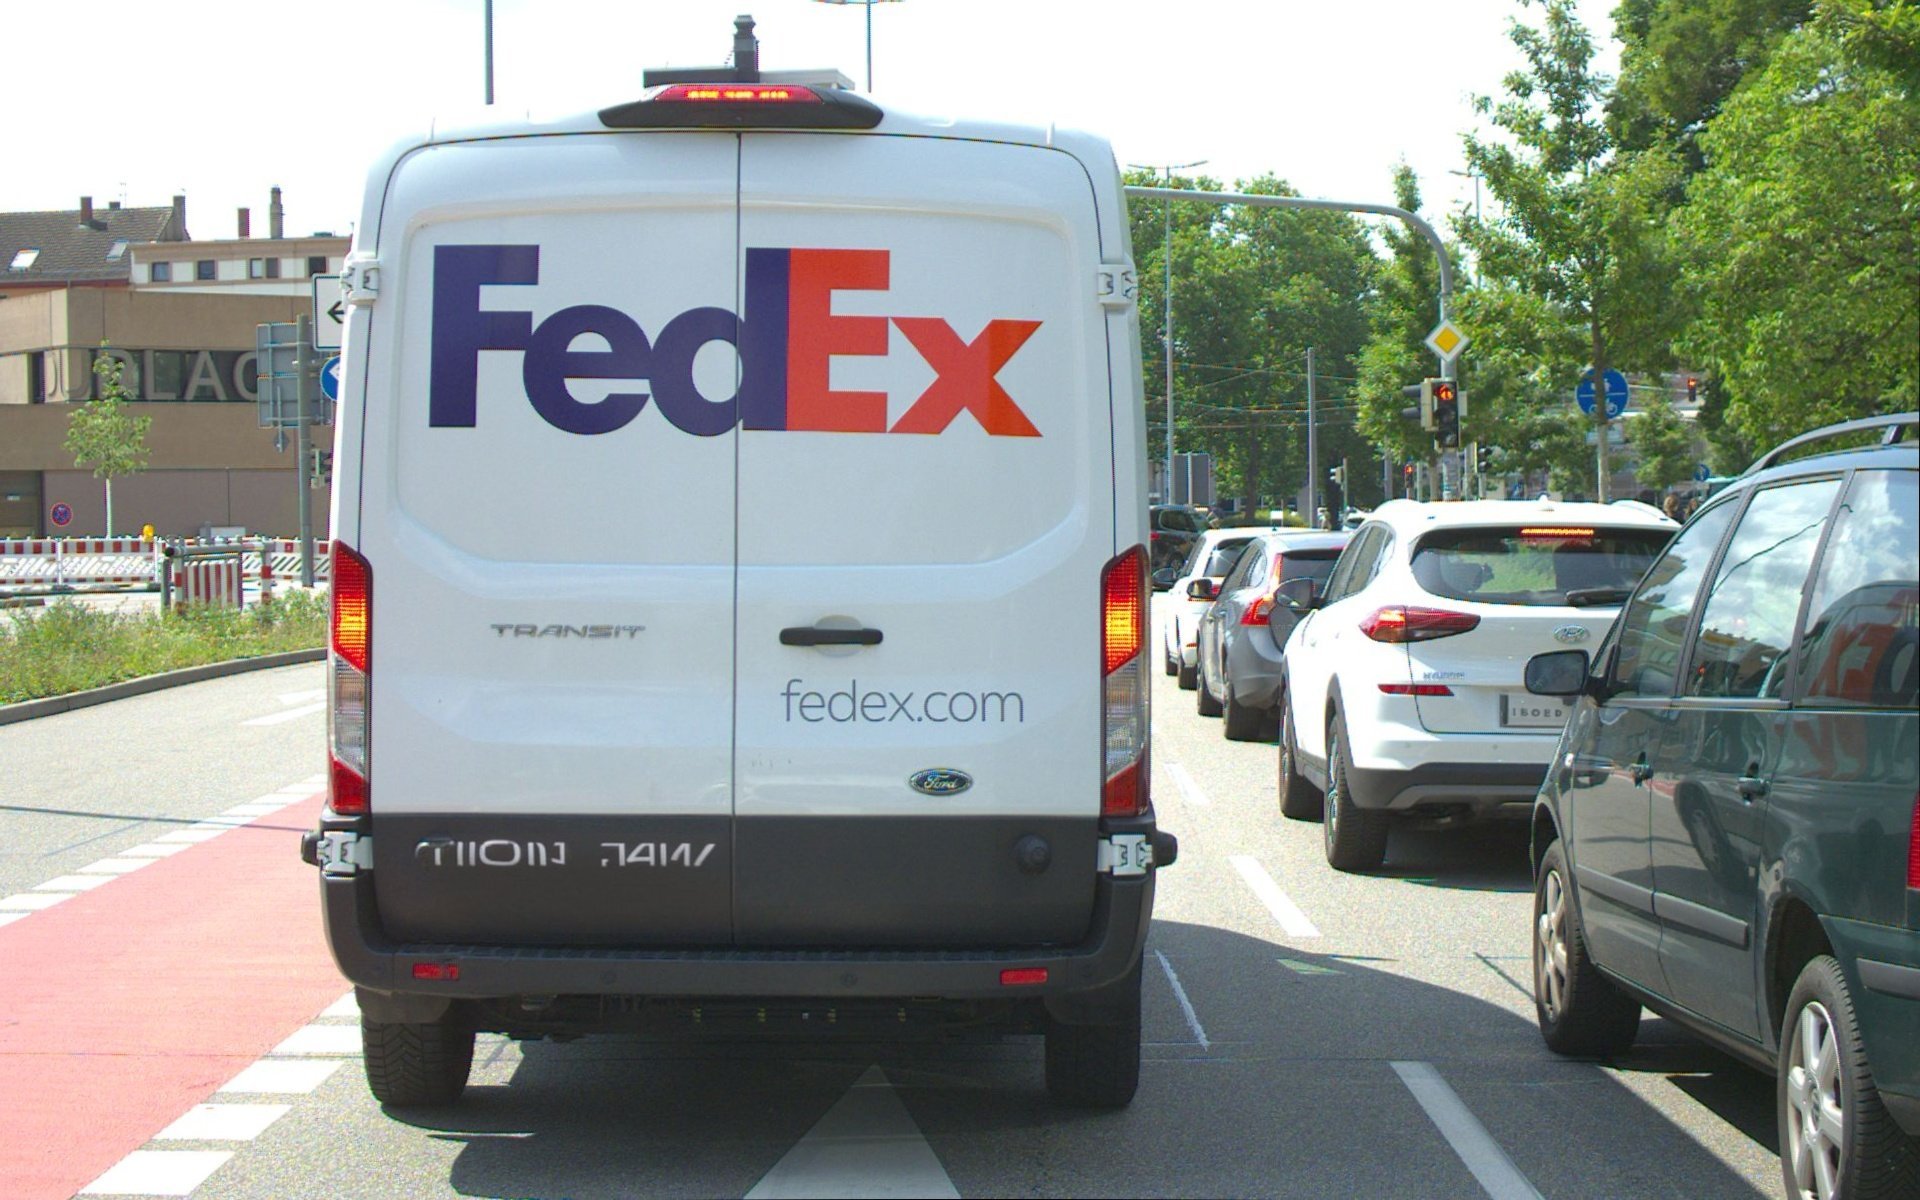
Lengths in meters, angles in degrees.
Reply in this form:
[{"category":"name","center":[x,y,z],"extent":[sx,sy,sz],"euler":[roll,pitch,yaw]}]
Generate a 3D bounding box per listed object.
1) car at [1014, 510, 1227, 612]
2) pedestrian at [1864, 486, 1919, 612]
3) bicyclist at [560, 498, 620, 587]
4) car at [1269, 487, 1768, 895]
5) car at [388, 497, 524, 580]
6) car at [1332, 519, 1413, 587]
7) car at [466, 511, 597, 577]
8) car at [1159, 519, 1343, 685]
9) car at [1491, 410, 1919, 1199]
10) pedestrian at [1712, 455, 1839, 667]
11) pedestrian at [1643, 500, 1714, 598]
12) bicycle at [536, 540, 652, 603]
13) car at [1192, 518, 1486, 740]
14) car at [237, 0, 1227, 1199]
[{"category":"car","center":[3.306,-0.811,70.054],"extent":[2.097,2.007,4.634],"euler":[0,1,37]},{"category":"pedestrian","center":[11.679,-0.637,42.344],"extent":[0.845,1.533,0.835],"euler":[-1,2,-1]},{"category":"bicyclist","center":[-6.205,-0.960,57.611],"extent":[0.967,1.469,0.551],"euler":[-1,1,-7]},{"category":"car","center":[2.497,0.324,16.269],"extent":[1.798,1.681,4.000],"euler":[-1,2,1]},{"category":"car","center":[-12.704,-1.555,86.834],"extent":[1.995,2.007,3.998],"euler":[-1,1,14]},{"category":"car","center":[11.265,-1.294,93.720],"extent":[1.994,1.787,4.370],"euler":[-1,1,9]},{"category":"car","center":[-10.629,-1.388,85.541],"extent":[1.902,1.579,3.998],"euler":[-1,1,14]},{"category":"car","center":[2.653,-0.024,31.872],"extent":[1.484,1.423,3.433],"euler":[-1,2,1]},{"category":"car","center":[2.553,0.468,8.279],"extent":[1.812,1.728,4.389],"euler":[0,2,-1]},{"category":"pedestrian","center":[7.375,-0.361,31.125],"extent":[0.950,1.886,0.774],"euler":[-1,1,-1]},{"category":"pedestrian","center":[10.265,-0.734,49.139],"extent":[0.845,1.384,0.741],"euler":[-1,2,-1]},{"category":"bicycle","center":[-6.135,-0.486,57.620],"extent":[1.920,1.027,0.548],"euler":[-1,2,-7]},{"category":"car","center":[2.674,0.147,25.005],"extent":[1.798,1.456,3.838],"euler":[-1,2,1]},{"category":"car","center":[-0.708,-0.044,10.314],"extent":[2.140,2.643,5.705],"euler":[0,1,-5]}]
